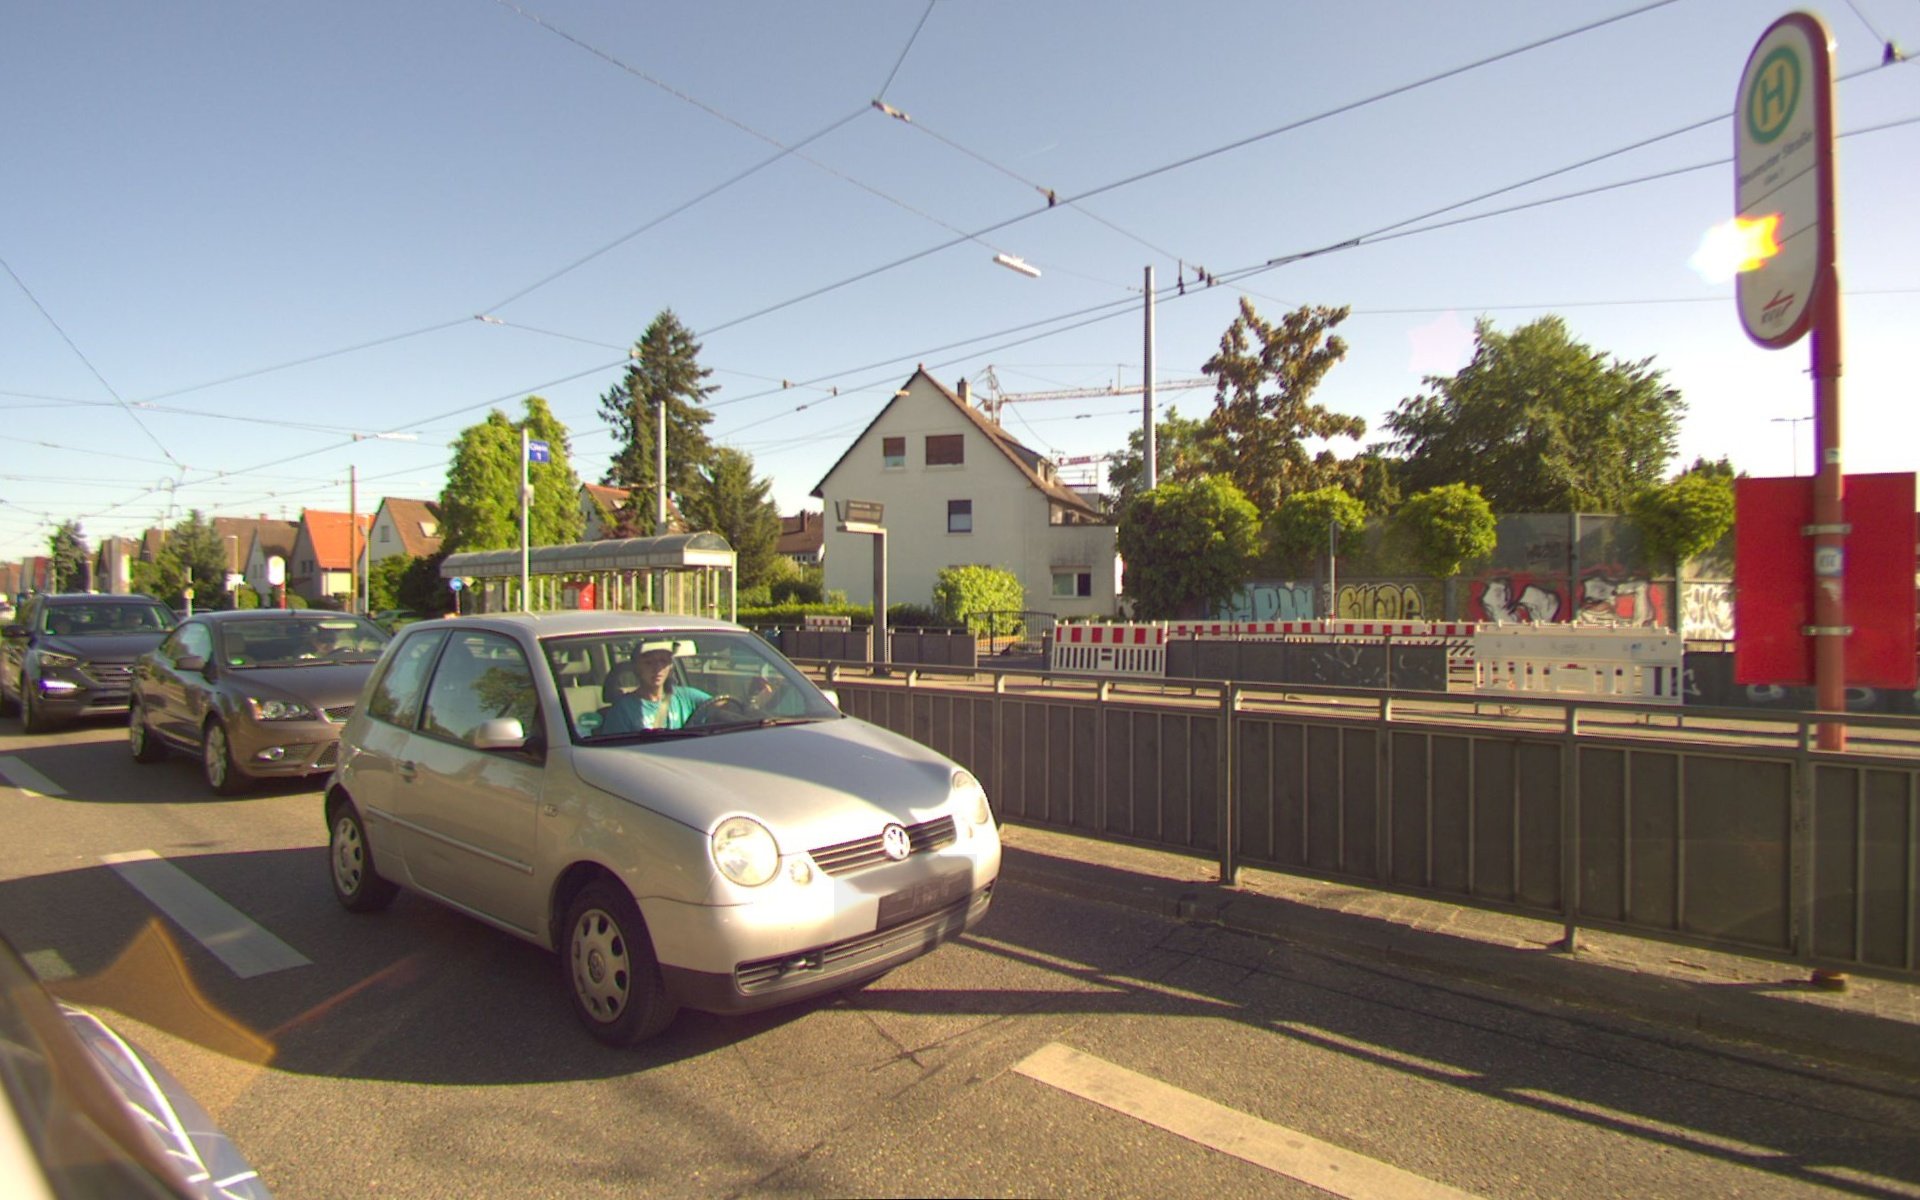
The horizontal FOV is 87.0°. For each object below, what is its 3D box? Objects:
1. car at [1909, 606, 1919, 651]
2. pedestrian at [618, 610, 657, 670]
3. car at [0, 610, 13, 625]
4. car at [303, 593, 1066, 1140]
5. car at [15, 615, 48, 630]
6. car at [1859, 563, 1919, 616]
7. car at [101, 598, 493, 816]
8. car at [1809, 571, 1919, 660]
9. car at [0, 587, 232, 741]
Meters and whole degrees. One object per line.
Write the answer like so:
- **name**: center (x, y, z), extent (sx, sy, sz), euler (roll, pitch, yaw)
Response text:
- **car**: center (32.450, 0.907, 31.768), extent (1.919, 1.477, 4.241), euler (0, -1, 13)
- **pedestrian**: center (-7.787, 0.961, 24.463), extent (0.710, 1.425, 0.616), euler (-1, -1, 39)
- **car**: center (-112.596, 2.068, 118.590), extent (3.998, 1.785, 1.972), euler (-1, -1, 42)
- **car**: center (-1.396, 0.745, 4.446), extent (3.411, 1.479, 1.565), euler (-1, -1, 40)
- **car**: center (-91.544, 2.219, 99.761), extent (3.998, 1.475, 1.972), euler (-1, -1, 42)
- **car**: center (37.956, -0.380, 40.049), extent (1.790, 2.029, 3.984), euler (-1, -1, 12)
- **car**: center (-6.127, 0.797, 9.174), extent (4.189, 1.546, 1.733), euler (-1, -1, 38)
- **car**: center (28.811, 0.466, 30.636), extent (2.330, 2.476, 6.828), euler (-1, -1, 18)
- **car**: center (-11.374, 0.746, 13.349), extent (4.296, 1.709, 1.862), euler (-1, -1, 40)
